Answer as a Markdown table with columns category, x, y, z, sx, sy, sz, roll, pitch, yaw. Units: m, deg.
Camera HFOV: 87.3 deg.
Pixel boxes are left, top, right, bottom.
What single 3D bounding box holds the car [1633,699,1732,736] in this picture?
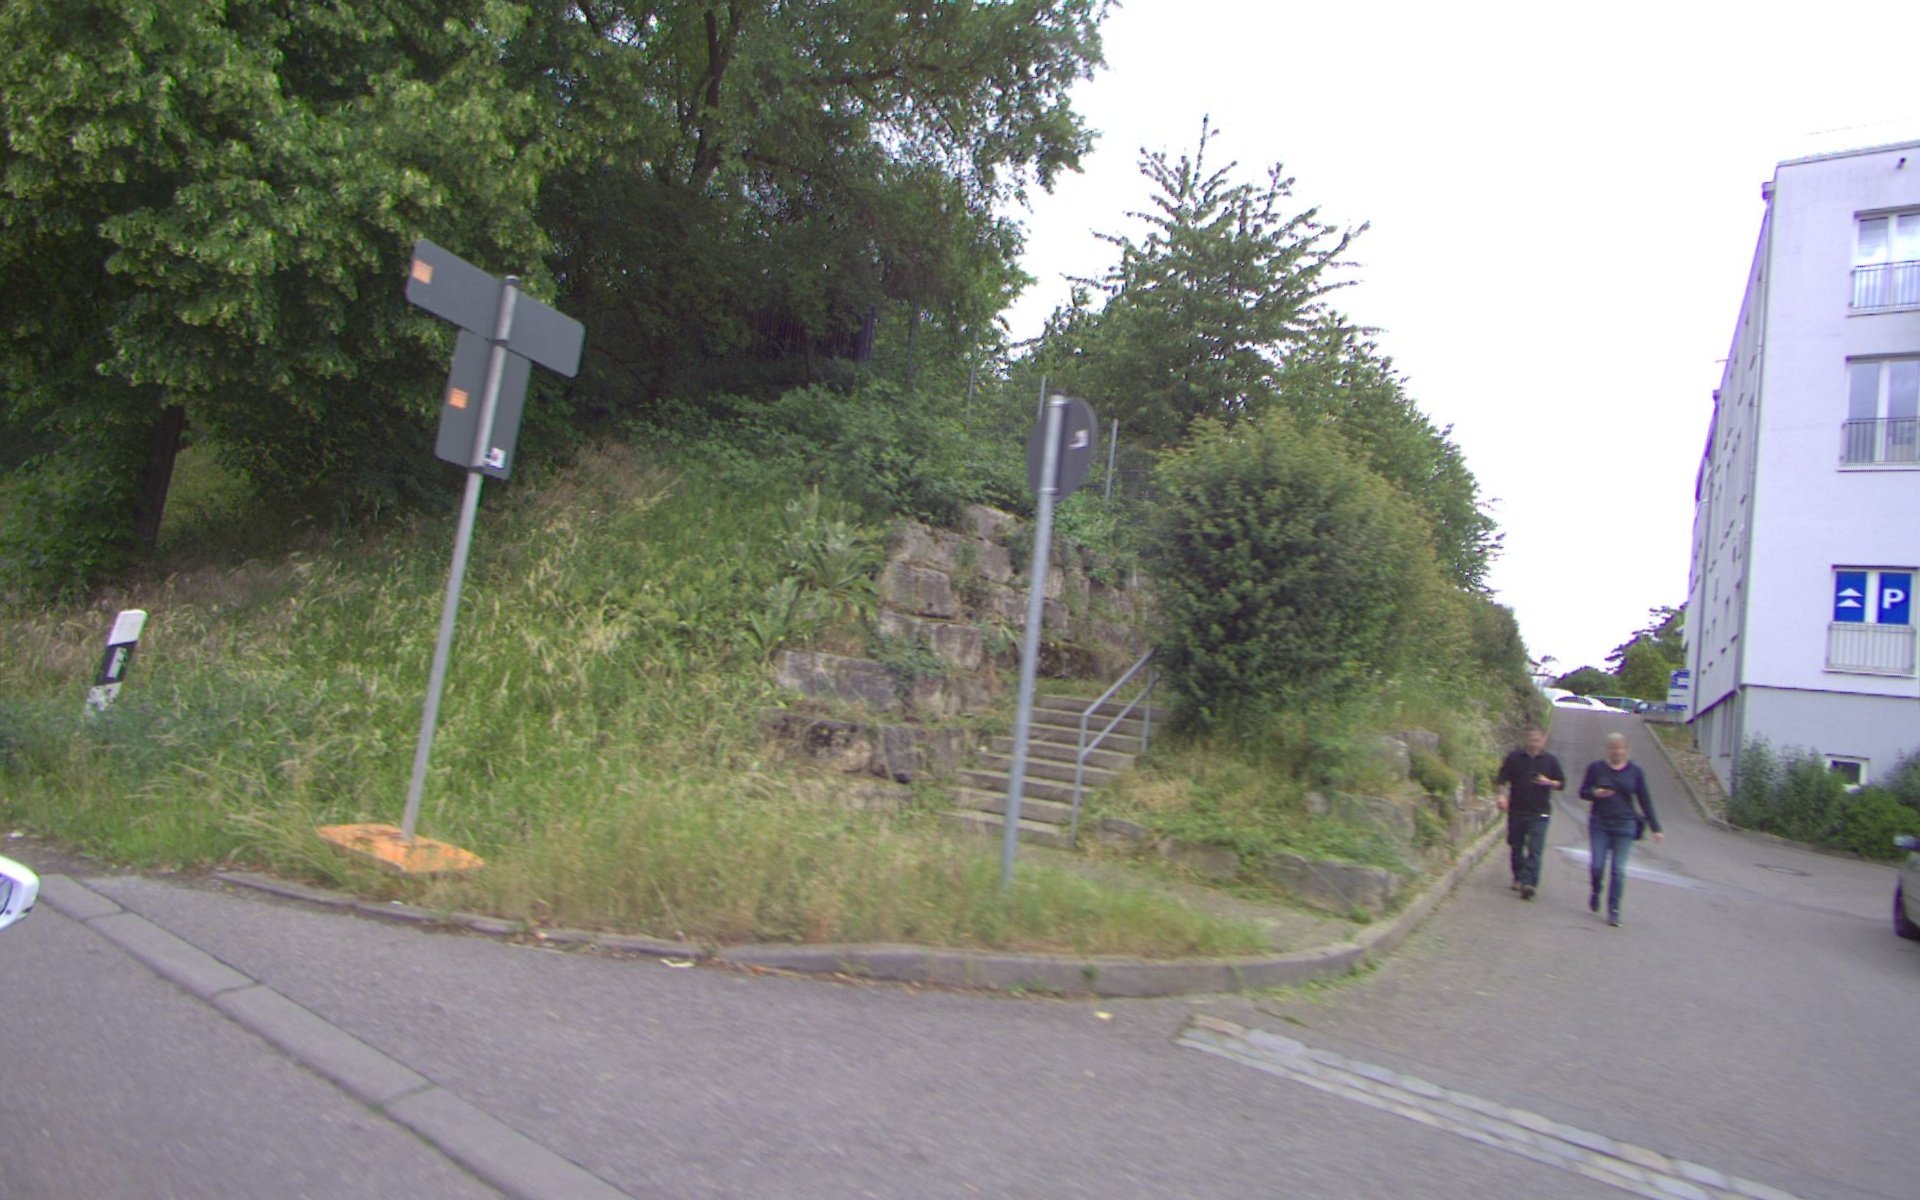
| category | x | y | z | sx | sy | sz | roll | pitch | yaw |
| --- | --- | --- | --- | --- | --- | --- | --- | --- | --- |
| car | 41.420 | 6.734 | 57.801 | 1.741 | 1.548 | 4.233 | 11 | -6 | -26 |

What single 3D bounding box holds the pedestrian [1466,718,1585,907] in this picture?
| category | x | y | z | sx | sy | sz | roll | pitch | yaw |
| --- | --- | --- | --- | --- | --- | --- | --- | --- | --- |
| pedestrian | 5.794 | 2.136 | 10.302 | 0.793 | 1.708 | 0.790 | 7 | -2 | 37 |

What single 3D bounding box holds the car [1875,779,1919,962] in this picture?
| category | x | y | z | sx | sy | sz | roll | pitch | yaw |
| --- | --- | --- | --- | --- | --- | --- | --- | --- | --- |
| car | 10.114 | 2.671 | 9.432 | 1.761 | 1.610 | 4.244 | 5 | -4 | 37 |

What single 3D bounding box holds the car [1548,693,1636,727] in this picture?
| category | x | y | z | sx | sy | sz | roll | pitch | yaw |
| --- | --- | --- | --- | --- | --- | --- | --- | --- | --- |
| car | 38.947 | 6.769 | 62.099 | 1.741 | 1.548 | 4.233 | 11 | -6 | -26 |

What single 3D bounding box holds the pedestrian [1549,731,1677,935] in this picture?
| category | x | y | z | sx | sy | sz | roll | pitch | yaw |
| --- | --- | --- | --- | --- | --- | --- | --- | --- | --- |
| pedestrian | 6.103 | 2.126 | 9.394 | 0.793 | 1.677 | 0.732 | 7 | -2 | 37 |
